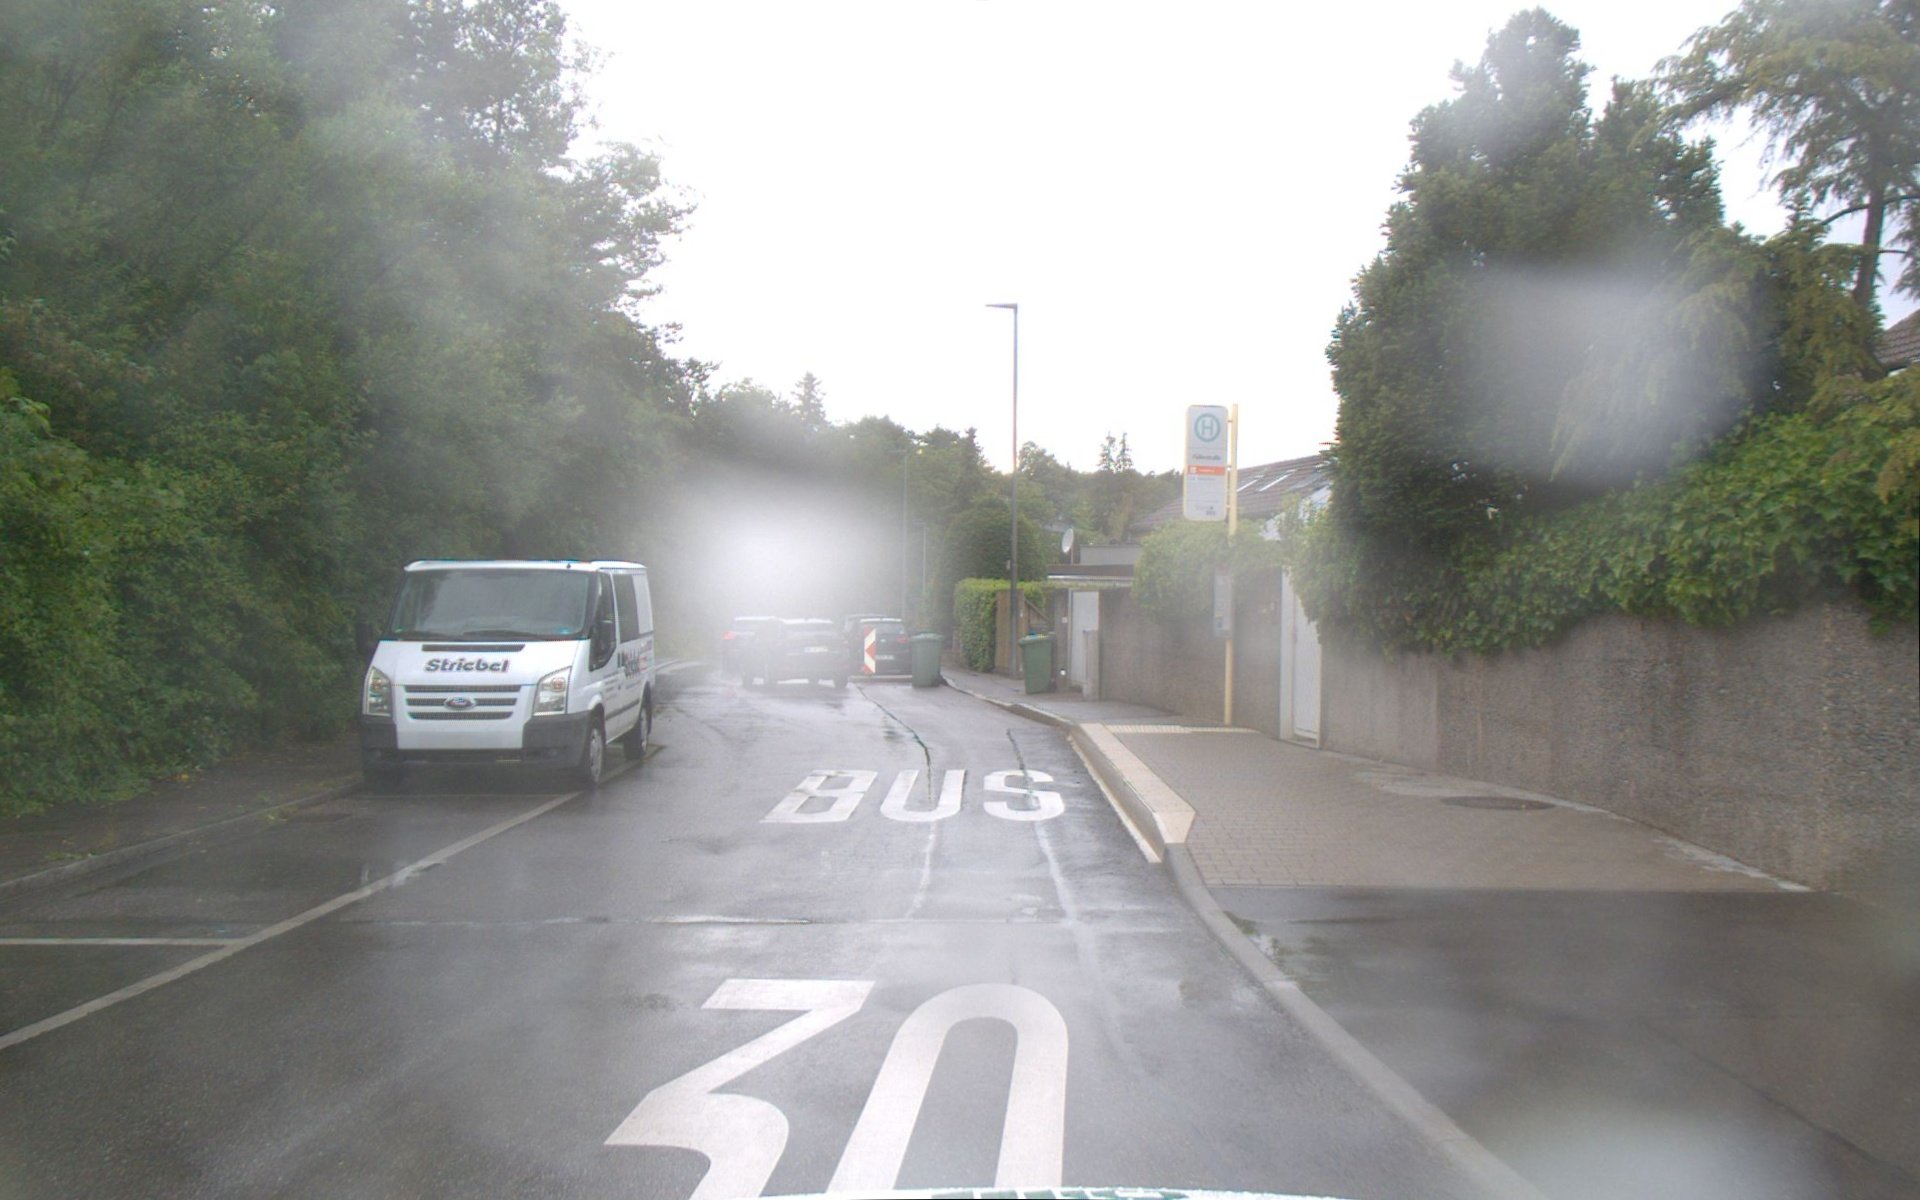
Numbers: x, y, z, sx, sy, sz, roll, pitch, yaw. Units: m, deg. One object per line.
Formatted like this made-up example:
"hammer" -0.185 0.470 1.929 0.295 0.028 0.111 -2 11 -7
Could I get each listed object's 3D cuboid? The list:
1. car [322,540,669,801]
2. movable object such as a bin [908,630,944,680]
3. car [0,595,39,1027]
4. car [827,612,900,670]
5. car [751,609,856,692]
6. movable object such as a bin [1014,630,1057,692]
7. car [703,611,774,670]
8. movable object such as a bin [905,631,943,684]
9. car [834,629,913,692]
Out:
"car" -4.059 0.556 15.451 2.069 2.009 5.169 0 0 -4
"movable object such as a bin" -0.755 1.215 36.770 0.715 1.097 0.659 1 -1 -9
"car" -4.262 0.748 4.683 1.568 1.538 2.943 0 0 3
"car" -2.871 1.169 48.373 1.839 1.620 4.472 0 0 -7
"car" -3.403 1.131 35.364 1.835 1.539 4.081 3 -4 -11
"movable object such as a bin" 1.420 1.144 31.233 0.724 1.107 0.599 -2 0 -4
"car" -6.453 1.159 48.505 1.955 1.633 4.402 1 0 -7
"movable object such as a bin" -0.780 1.243 35.612 0.702 1.115 0.654 1 -1 -11
"car" -2.292 1.536 42.938 1.722 1.487 4.294 1 0 -7
